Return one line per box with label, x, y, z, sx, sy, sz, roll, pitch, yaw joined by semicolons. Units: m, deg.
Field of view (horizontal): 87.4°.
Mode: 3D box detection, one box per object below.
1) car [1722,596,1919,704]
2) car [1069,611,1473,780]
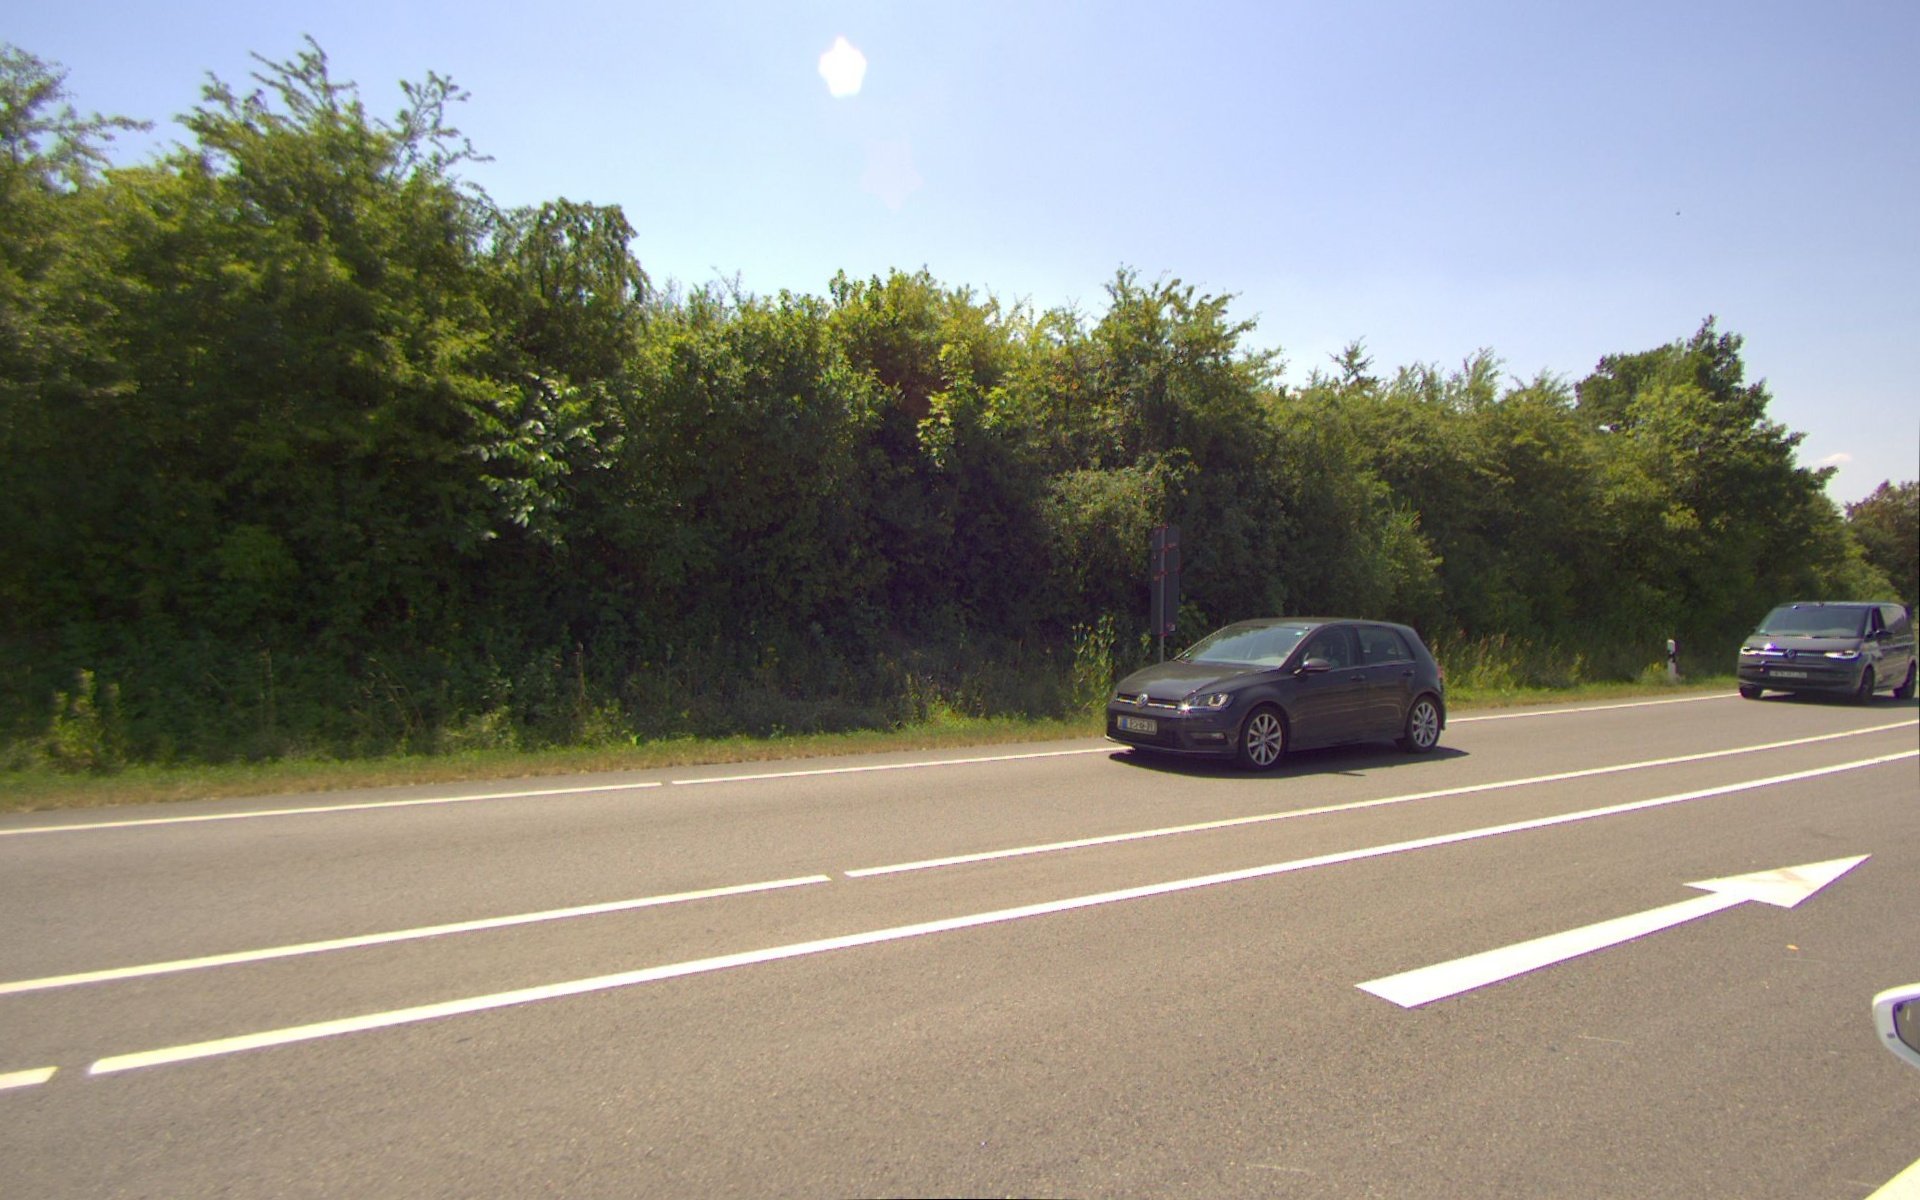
car;17.308;0.918;20.088;5.055;1.919;1.979;1;0;-37
car;3.421;0.880;10.794;4.283;1.461;1.866;1;0;-33
